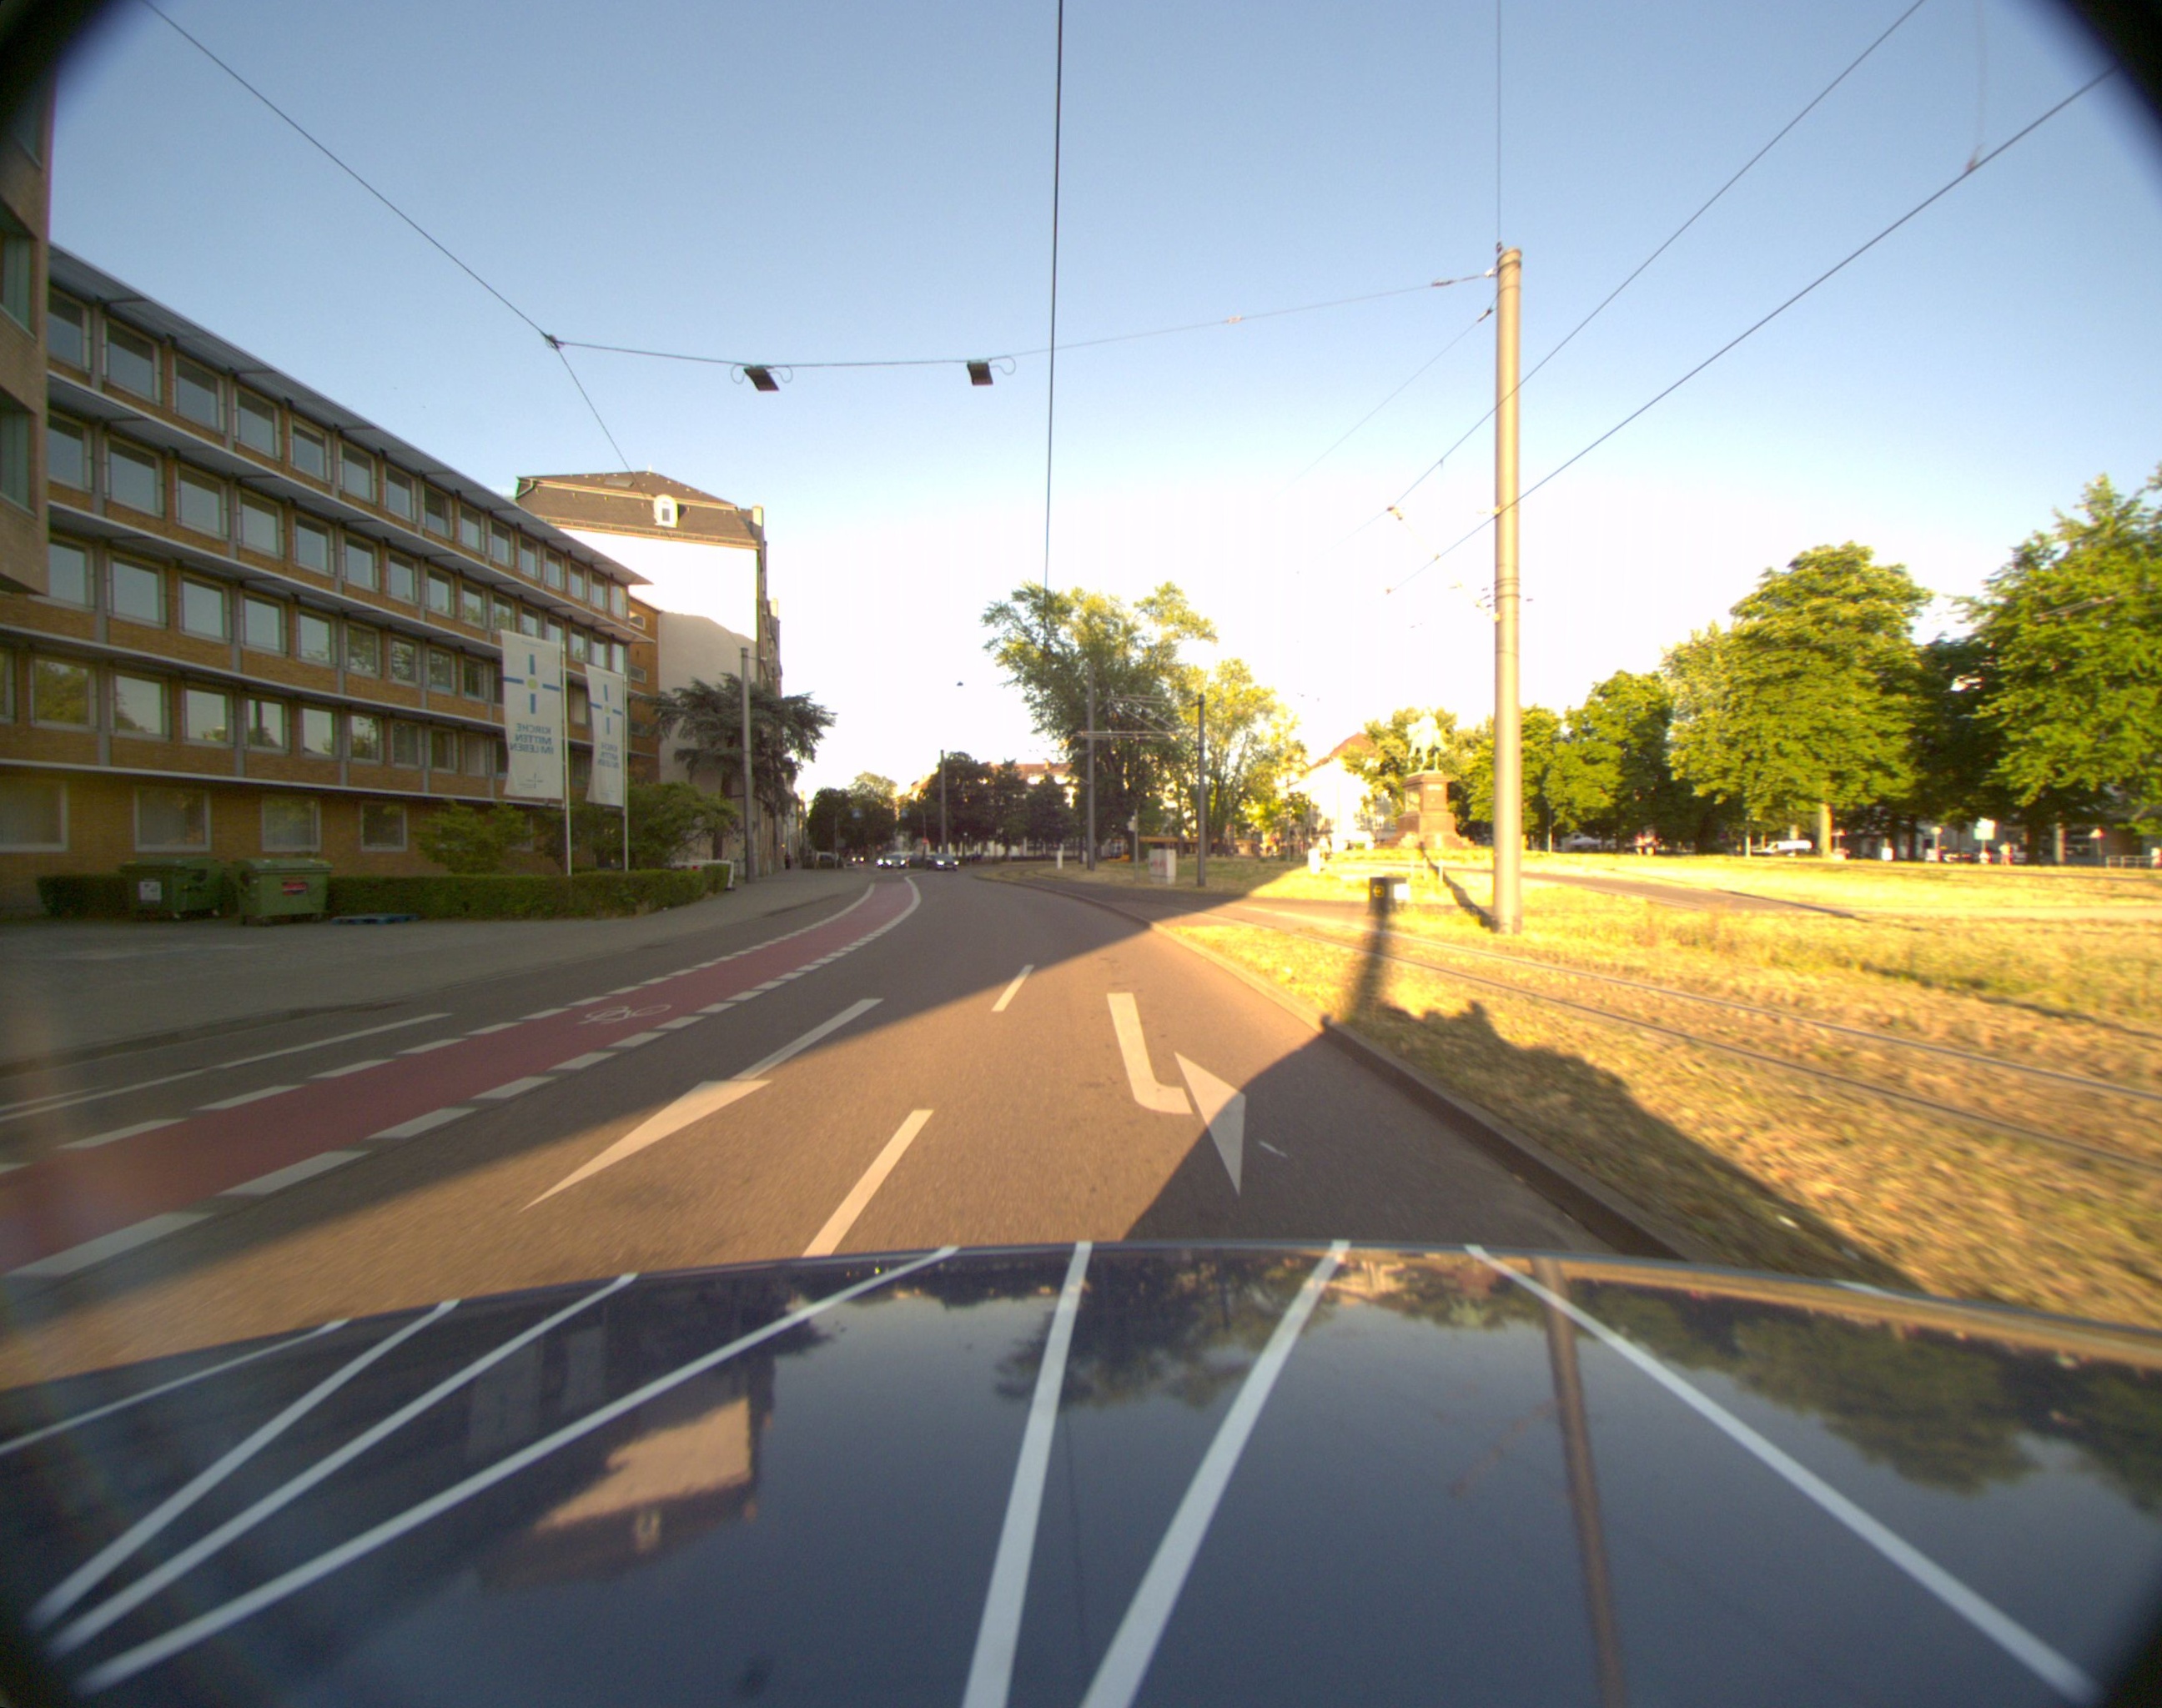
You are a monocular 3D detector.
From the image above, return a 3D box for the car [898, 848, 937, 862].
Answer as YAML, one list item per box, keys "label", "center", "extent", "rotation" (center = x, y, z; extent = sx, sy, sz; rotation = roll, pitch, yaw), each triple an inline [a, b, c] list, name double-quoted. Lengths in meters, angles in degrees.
- label: "car"
  center: [-23.378, 0.166, 108.935]
  extent: [5.077, 1.891, 2.122]
  rotation: [0, 0, 4]

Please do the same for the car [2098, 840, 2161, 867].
- label: "car"
  center: [72.960, -0.037, 52.208]
  extent: [1.934, 1.784, 4.217]
  rotation: [0, -1, 26]

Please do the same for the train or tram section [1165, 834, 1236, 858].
- label: "train or tram section"
  center: [16.451, -1.151, 103.352]
  extent: [2.923, 3.123, 12.882]
  rotation: [0, 1, 42]

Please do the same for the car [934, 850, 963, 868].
- label: "car"
  center: [-11.162, 0.444, 63.857]
  extent: [1.822, 1.473, 4.129]
  rotation: [0, -1, -17]

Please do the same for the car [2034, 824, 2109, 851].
- label: "car"
  center: [75.696, -1.219, 58.164]
  extent: [1.755, 1.932, 4.217]
  rotation: [0, -1, 26]

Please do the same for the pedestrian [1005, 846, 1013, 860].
- label: "pedestrian"
  center: [-9.308, -0.122, 98.406]
  extent: [0.767, 1.705, 0.787]
  rotation: [0, 0, 21]

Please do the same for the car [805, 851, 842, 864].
- label: "car"
  center: [-30.078, 0.414, 88.839]
  extent: [4.071, 1.560, 1.835]
  rotation: [0, 0, -17]

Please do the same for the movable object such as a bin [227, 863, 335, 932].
- label: "movable object such as a bin"
  center: [-17.360, 0.906, 16.524]
  extent: [0.972, 1.429, 1.347]
  rotation: [0, 0, 22]

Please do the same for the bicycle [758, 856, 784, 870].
- label: "bicycle"
  center: [-24.281, 0.678, 59.562]
  extent: [1.858, 1.066, 0.428]
  rotation: [0, 0, -20]

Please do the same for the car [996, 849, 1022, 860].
- label: "car"
  center: [-11.447, 0.039, 121.299]
  extent: [4.010, 1.714, 1.702]
  rotation: [0, 0, 1]

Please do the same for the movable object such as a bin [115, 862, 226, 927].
- label: "movable object such as a bin"
  center: [-20.386, 0.881, 17.043]
  extent: [1.344, 1.416, 0.924]
  rotation: [0, 0, -5]

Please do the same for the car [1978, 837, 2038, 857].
- label: "car"
  center: [79.520, -0.571, 65.250]
  extent: [1.755, 1.654, 4.007]
  rotation: [0, -1, 26]

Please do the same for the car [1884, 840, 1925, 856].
- label: "car"
  center: [87.959, -0.624, 81.235]
  extent: [1.793, 1.570, 4.008]
  rotation: [0, -1, 29]

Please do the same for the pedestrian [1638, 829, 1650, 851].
- label: "pedestrian"
  center: [40.313, -0.991, 54.409]
  extent: [0.453, 1.503, 0.553]
  rotation: [0, 0, 5]

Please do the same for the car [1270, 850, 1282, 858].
- label: "car"
  center: [39.978, -0.004, 155.892]
  extent: [1.723, 1.543, 3.969]
  rotation: [0, -1, 3]

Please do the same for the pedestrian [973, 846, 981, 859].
- label: "pedestrian"
  center: [-16.054, -0.237, 117.264]
  extent: [0.827, 2.002, 1.011]
  rotation: [0, 0, 32]

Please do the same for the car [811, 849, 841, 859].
- label: "car"
  center: [-40.217, -0.005, 119.669]
  extent: [4.403, 1.603, 1.726]
  rotation: [0, 0, -20]

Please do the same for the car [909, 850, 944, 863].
- label: "car"
  center: [-19.726, 0.287, 97.208]
  extent: [4.066, 1.608, 1.999]
  rotation: [0, 0, -4]

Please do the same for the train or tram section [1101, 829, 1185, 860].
- label: "train or tram section"
  center: [7.863, -1.234, 93.424]
  extent: [2.941, 3.564, 13.394]
  rotation: [0, 1, 40]

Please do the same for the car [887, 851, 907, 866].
- label: "car"
  center: [-17.859, 0.444, 73.819]
  extent: [1.822, 1.473, 4.131]
  rotation: [0, -1, -13]

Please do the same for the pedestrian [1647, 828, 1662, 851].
- label: "pedestrian"
  center: [40.584, -1.011, 53.743]
  extent: [0.619, 1.571, 0.553]
  rotation: [0, 0, 4]

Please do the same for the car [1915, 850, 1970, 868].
- label: "car"
  center: [78.236, 0.488, 69.076]
  extent: [1.861, 1.547, 4.076]
  rotation: [0, -1, 26]

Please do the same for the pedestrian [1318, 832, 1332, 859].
- label: "pedestrian"
  center: [15.078, -0.514, 47.039]
  extent: [0.476, 1.680, 0.835]
  rotation: [0, 1, -11]

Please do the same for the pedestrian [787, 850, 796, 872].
- label: "pedestrian"
  center: [-23.146, 0.549, 60.741]
  extent: [0.578, 1.699, 0.720]
  rotation: [0, 0, -15]

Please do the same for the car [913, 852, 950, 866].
- label: "car"
  center: [-17.450, 0.569, 88.978]
  extent: [4.066, 1.547, 1.865]
  rotation: [0, 0, -4]

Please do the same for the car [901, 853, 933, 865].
- label: "car"
  center: [-22.390, 0.674, 103.886]
  extent: [4.066, 1.542, 1.999]
  rotation: [0, 0, -4]

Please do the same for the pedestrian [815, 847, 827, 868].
- label: "pedestrian"
  center: [-22.896, 0.325, 66.930]
  extent: [0.591, 1.781, 0.822]
  rotation: [0, 0, 14]

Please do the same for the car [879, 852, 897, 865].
- label: "car"
  center: [-21.864, 0.497, 85.935]
  extent: [1.822, 1.473, 4.130]
  rotation: [0, -1, -17]

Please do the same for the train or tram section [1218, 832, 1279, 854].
- label: "train or tram section"
  center: [25.067, -1.694, 112.894]
  extent: [2.917, 3.123, 12.670]
  rotation: [0, 1, 42]

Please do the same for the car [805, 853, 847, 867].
- label: "car"
  center: [-28.201, 0.663, 84.107]
  extent: [4.402, 1.548, 1.835]
  rotation: [0, 0, -18]

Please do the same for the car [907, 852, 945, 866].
- label: "car"
  center: [-17.542, 0.523, 86.050]
  extent: [4.066, 1.547, 1.865]
  rotation: [0, 0, -4]

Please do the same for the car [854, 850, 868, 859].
- label: "car"
  center: [-37.526, 0.079, 129.704]
  extent: [1.821, 1.473, 4.132]
  rotation: [-1, -1, -11]
